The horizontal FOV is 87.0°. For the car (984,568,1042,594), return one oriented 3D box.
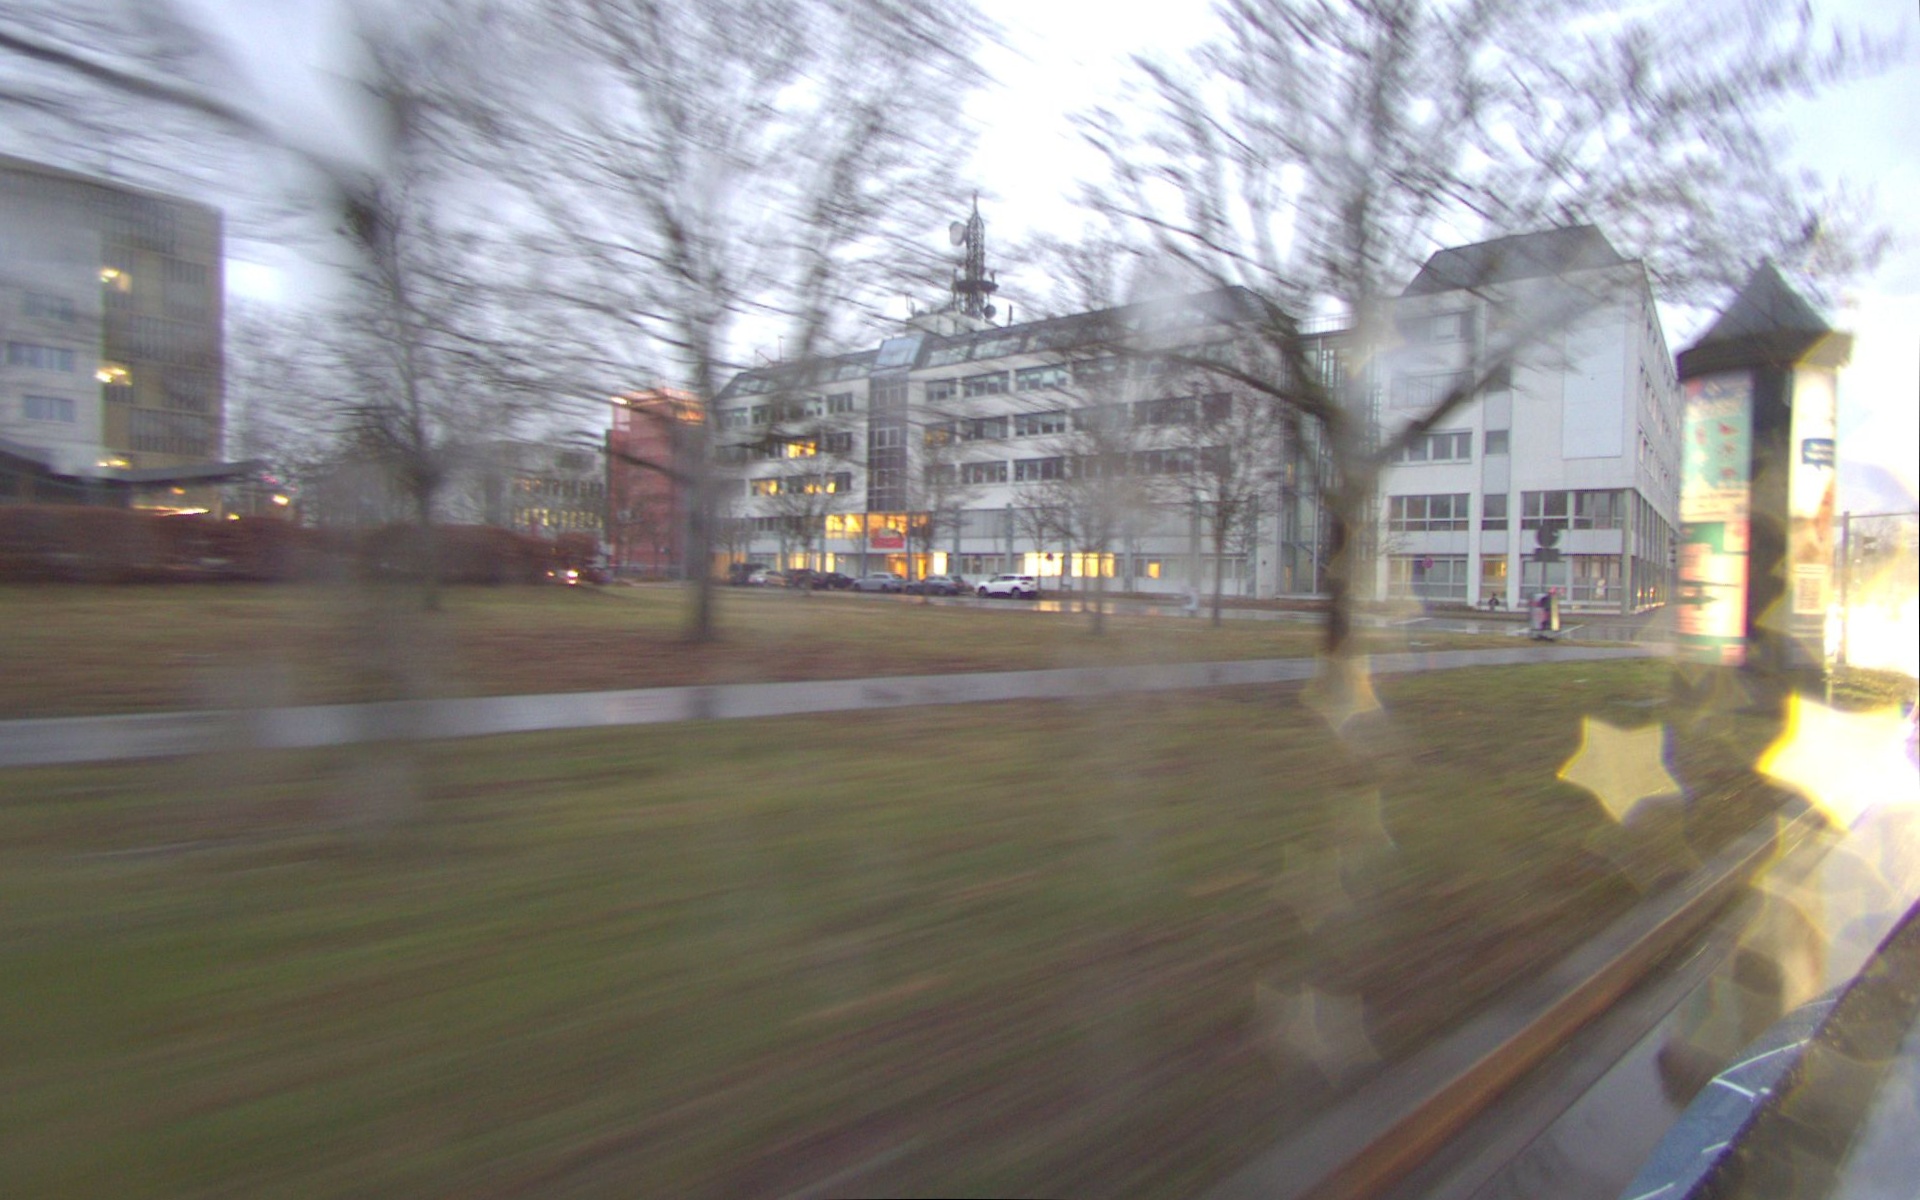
[{"bbox_3d":[3.484,-1.254,66.691,3.264,1.657,1.971,0,2,40],"label":"car"}]

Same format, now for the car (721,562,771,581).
[{"bbox_3d":[-18.195,-2.461,86.054,1.599,1.547,4.067,0,2,38],"label":"car"}]

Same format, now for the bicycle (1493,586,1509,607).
[{"bbox_3d":[29.469,-0.184,55.139,0.469,1.118,1.850,2,2,37],"label":"bicycle"}]

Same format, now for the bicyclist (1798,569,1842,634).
[{"bbox_3d":[19.617,0.027,23.100,0.750,1.448,0.913,0,1,41],"label":"bicyclist"}]

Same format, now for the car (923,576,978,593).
[{"bbox_3d":[-0.692,-1.088,71.380,3.697,1.199,1.522,0,1,34],"label":"car"}]

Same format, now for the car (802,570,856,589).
[{"bbox_3d":[-10.283,-1.637,79.633,1.763,1.439,4.077,0,2,39],"label":"car"}]

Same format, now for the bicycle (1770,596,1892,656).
[{"bbox_3d":[19.723,0.562,22.978,1.957,1.231,1.027,3,1,35],"label":"bicycle"}]

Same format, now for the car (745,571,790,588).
[{"bbox_3d":[-16.115,-1.704,84.651,1.697,1.329,3.449,0,2,39],"label":"car"}]

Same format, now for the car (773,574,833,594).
[{"bbox_3d":[-12.666,-1.310,81.845,1.765,1.575,4.743,0,2,40],"label":"car"}]

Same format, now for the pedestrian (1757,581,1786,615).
[{"bbox_3d":[43.995,-0.108,54.884,0.843,1.771,0.800,2,4,-24],"label":"pedestrian"}]

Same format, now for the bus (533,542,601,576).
[{"bbox_3d":[-34.392,-3.516,88.431,8.120,2.746,2.261,0,2,44],"label":"bus"}]

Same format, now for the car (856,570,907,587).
[{"bbox_3d":[-5.875,-1.605,75.523,3.771,1.241,1.360,0,1,34],"label":"car"}]
